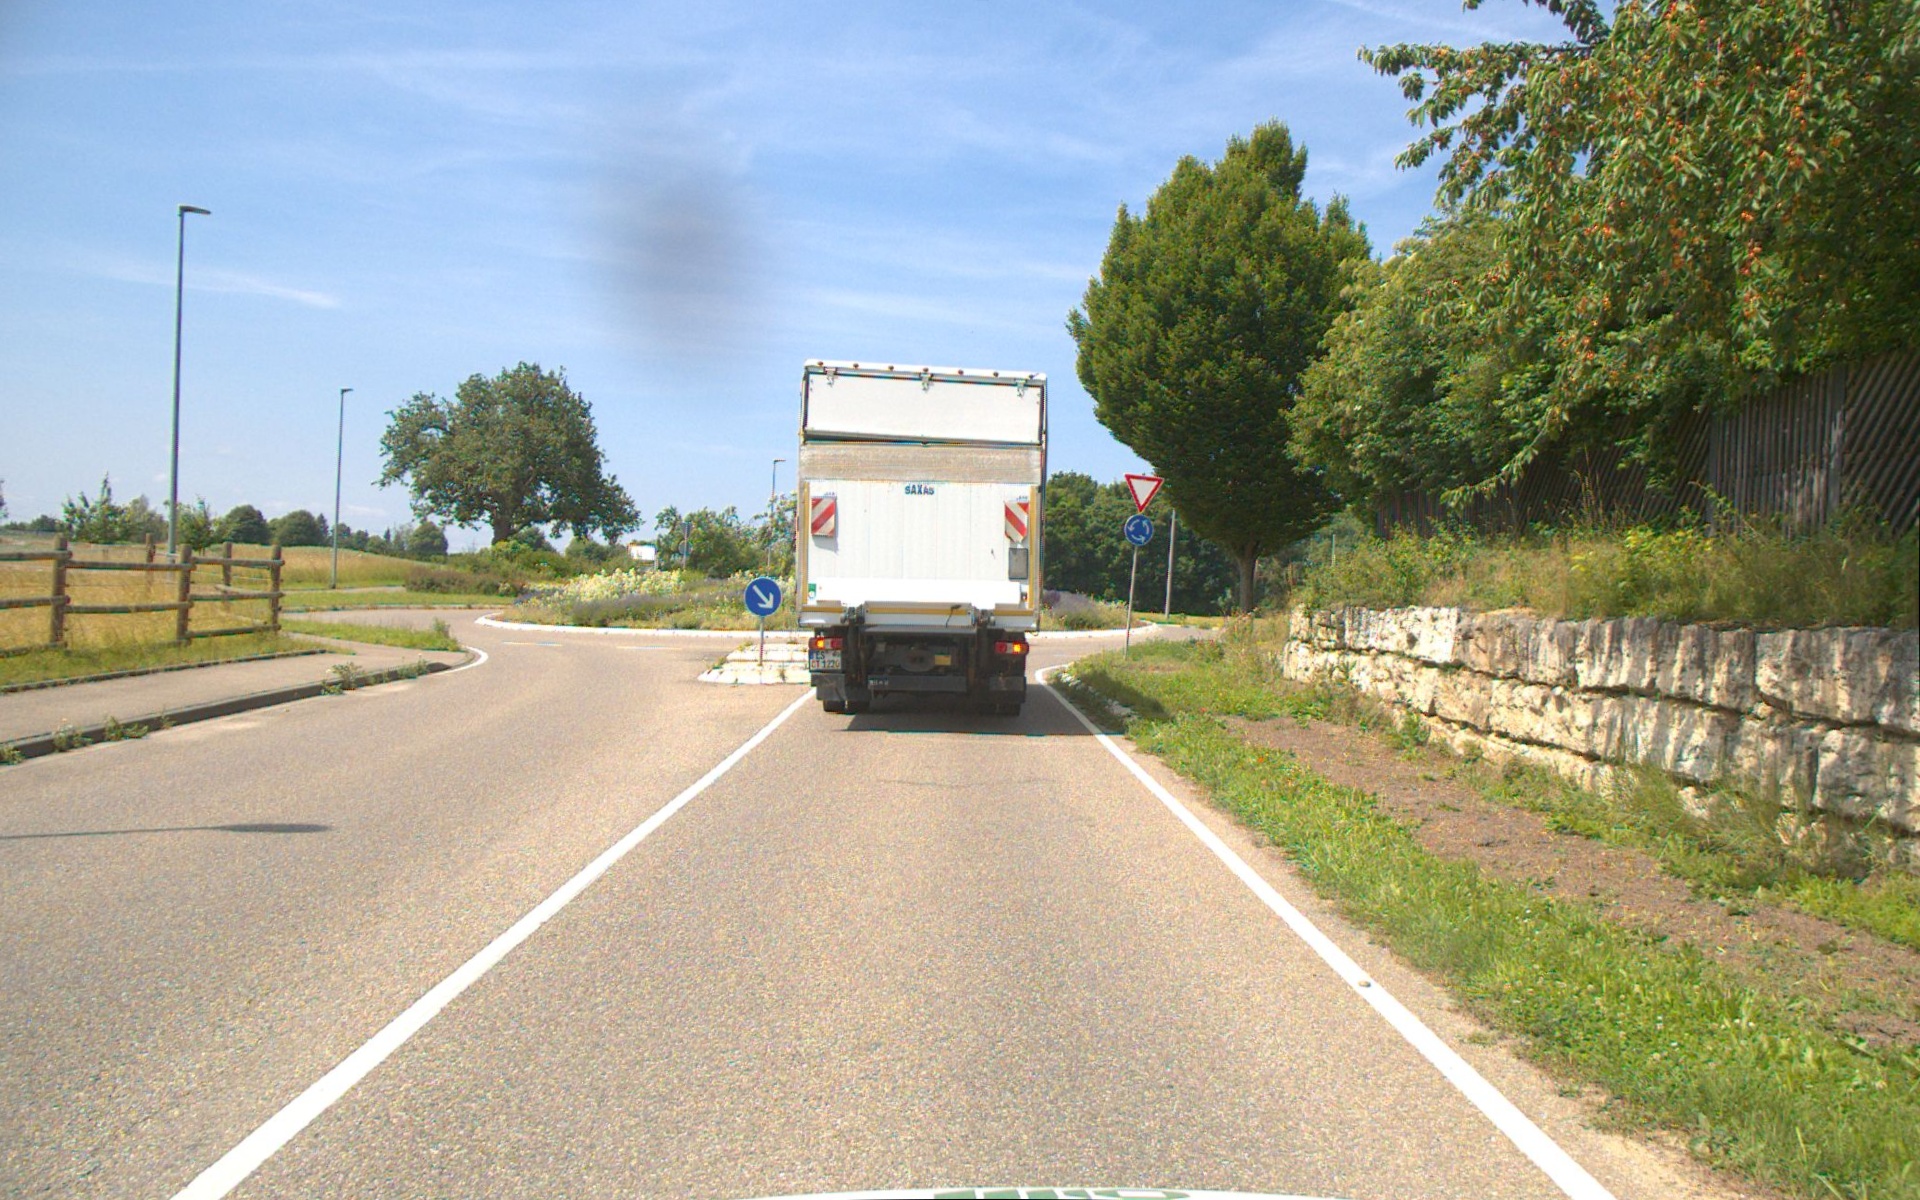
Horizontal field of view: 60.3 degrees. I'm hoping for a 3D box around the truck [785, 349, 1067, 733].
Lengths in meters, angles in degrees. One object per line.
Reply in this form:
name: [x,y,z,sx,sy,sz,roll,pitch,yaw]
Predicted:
truck: [-0.494,-0.623,21.022,2.711,3.735,9.379,1,0,-2]
